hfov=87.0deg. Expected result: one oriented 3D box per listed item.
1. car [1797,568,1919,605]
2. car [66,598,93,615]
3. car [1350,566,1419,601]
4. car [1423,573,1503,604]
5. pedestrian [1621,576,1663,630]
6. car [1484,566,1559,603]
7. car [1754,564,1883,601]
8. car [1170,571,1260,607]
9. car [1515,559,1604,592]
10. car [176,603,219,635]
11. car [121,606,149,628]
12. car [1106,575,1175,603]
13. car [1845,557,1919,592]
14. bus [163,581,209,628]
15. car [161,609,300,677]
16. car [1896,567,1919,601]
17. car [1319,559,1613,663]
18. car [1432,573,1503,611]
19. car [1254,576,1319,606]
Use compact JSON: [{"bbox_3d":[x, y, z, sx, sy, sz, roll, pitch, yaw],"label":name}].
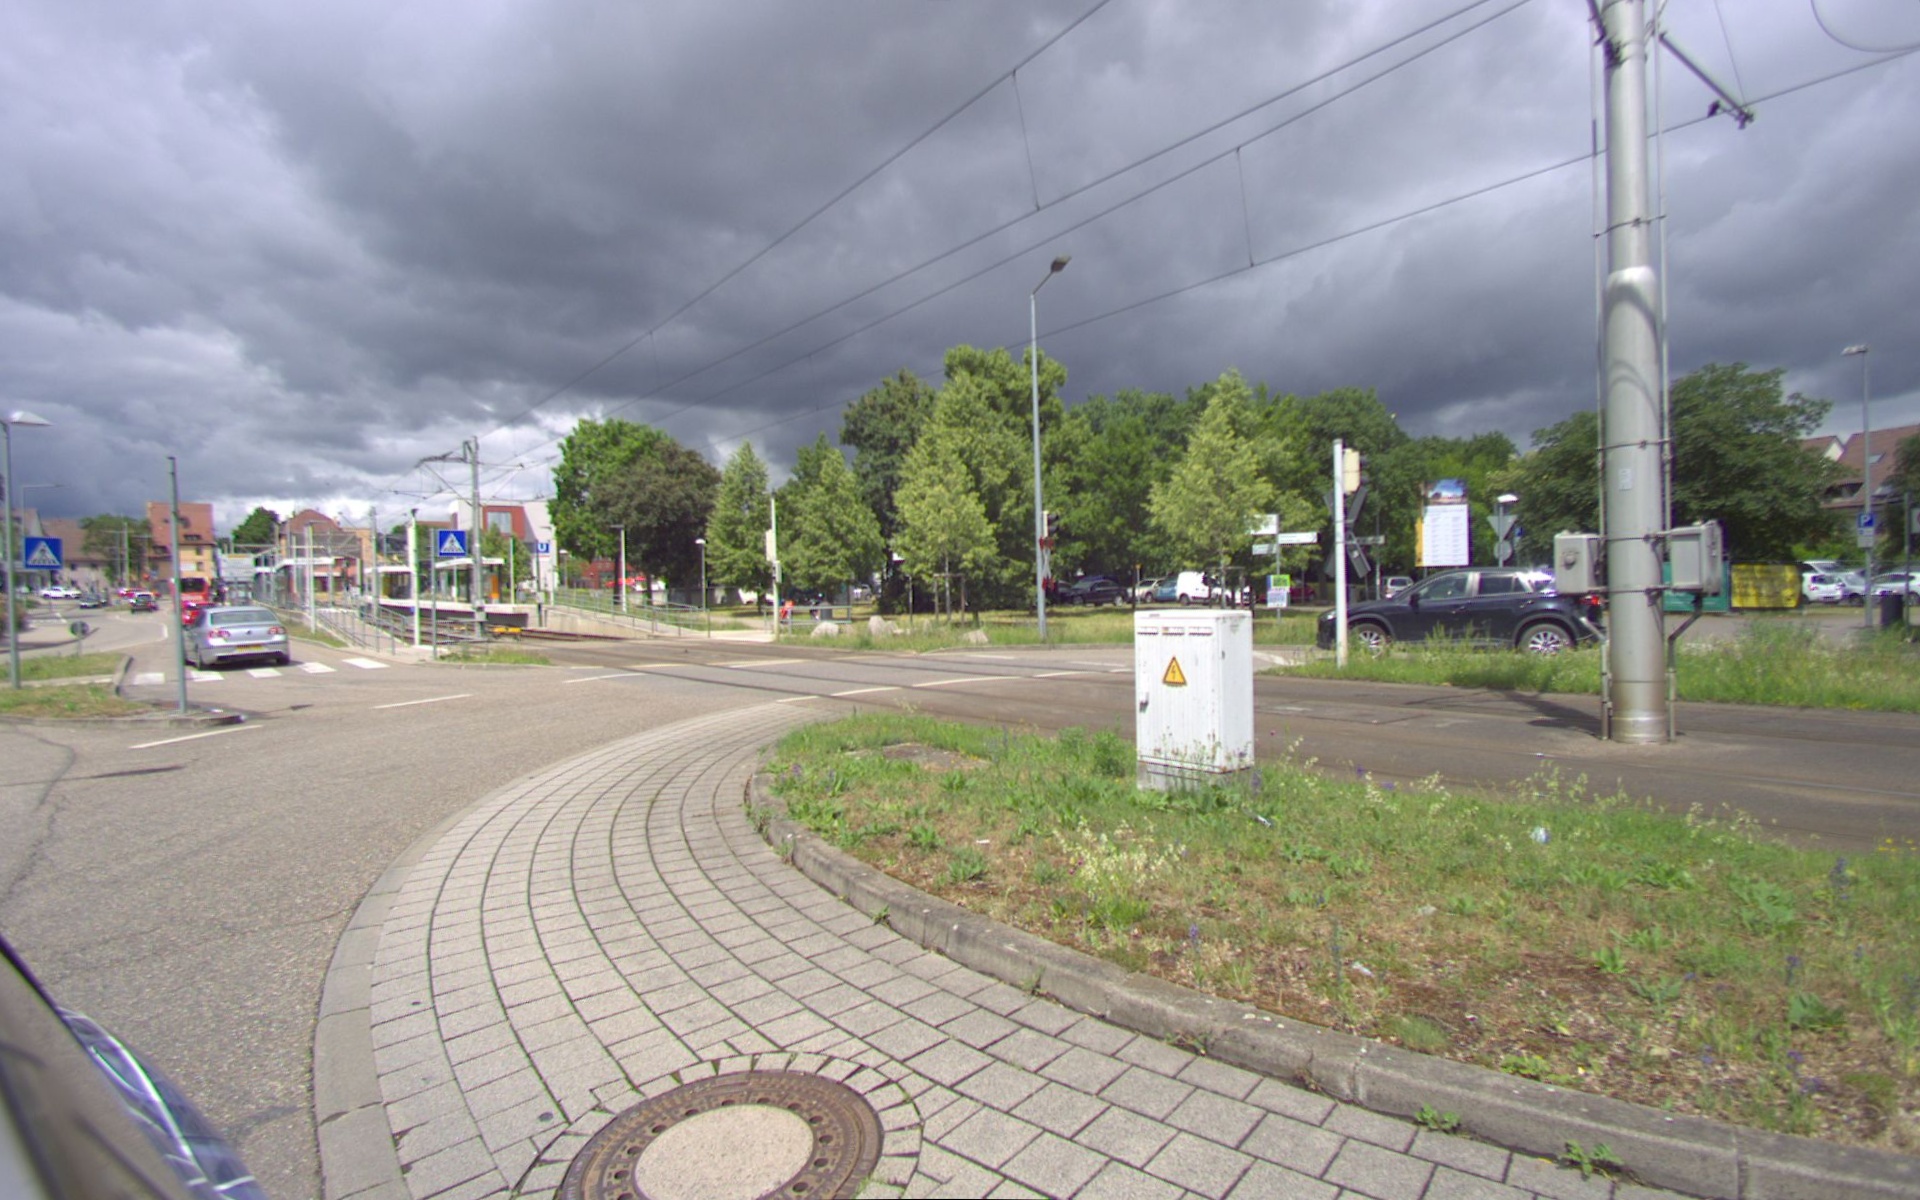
[{"bbox_3d":[38.160,-0.597,42.922,1.731,1.430,4.006,-2,2,-7],"label":"car"},{"bbox_3d":[-98.006,0.740,112.677,1.968,1.874,4.008,-2,0,-38],"label":"car"},{"bbox_3d":[22.290,-0.847,53.290,1.973,1.696,3.998,-2,0,2],"label":"car"},{"bbox_3d":[27.248,-0.587,54.956,1.966,1.602,3.595,-1,0,-16],"label":"car"},{"bbox_3d":[19.163,0.079,28.458,0.745,1.468,0.891,-2,2,20],"label":"pedestrian"},{"bbox_3d":[26.439,-0.765,47.747,1.978,1.601,3.575,-1,3,9],"label":"car"},{"bbox_3d":[36.115,-0.745,42.707,1.731,1.430,4.006,-2,2,-7],"label":"car"},{"bbox_3d":[13.056,-0.557,52.037,1.714,1.702,4.360,-3,2,-38],"label":"car"},{"bbox_3d":[32.668,-1.325,55.288,1.968,1.604,4.008,-1,-1,-10],"label":"car"},{"bbox_3d":[-40.838,0.983,54.212,1.712,1.521,3.522,-3,2,-37],"label":"car"},{"bbox_3d":[-75.524,1.533,92.689,1.822,1.942,3.785,-2,0,-38],"label":"car"},{"bbox_3d":[11.138,-0.666,62.418,3.902,1.652,1.572,-1,2,41],"label":"car"},{"bbox_3d":[40.849,-1.104,43.560,1.731,1.430,4.006,-2,2,-7],"label":"car"},{"bbox_3d":[-68.205,0.419,89.349,2.878,3.915,10.402,-2,0,-36],"label":"bus"},{"bbox_3d":[-17.843,0.967,24.661,4.663,1.392,1.914,-1,2,44],"label":"car"},{"bbox_3d":[42.905,-0.702,43.616,1.462,1.430,3.599,-2,2,-10],"label":"car"},{"bbox_3d":[8.607,0.199,17.409,4.310,1.597,1.840,-1,0,31],"label":"car"},{"bbox_3d":[23.873,-0.408,47.745,1.978,1.601,3.575,-1,3,9],"label":"car"},{"bbox_3d":[18.206,-0.509,56.431,3.559,1.602,1.633,0,0,-34],"label":"car"}]
